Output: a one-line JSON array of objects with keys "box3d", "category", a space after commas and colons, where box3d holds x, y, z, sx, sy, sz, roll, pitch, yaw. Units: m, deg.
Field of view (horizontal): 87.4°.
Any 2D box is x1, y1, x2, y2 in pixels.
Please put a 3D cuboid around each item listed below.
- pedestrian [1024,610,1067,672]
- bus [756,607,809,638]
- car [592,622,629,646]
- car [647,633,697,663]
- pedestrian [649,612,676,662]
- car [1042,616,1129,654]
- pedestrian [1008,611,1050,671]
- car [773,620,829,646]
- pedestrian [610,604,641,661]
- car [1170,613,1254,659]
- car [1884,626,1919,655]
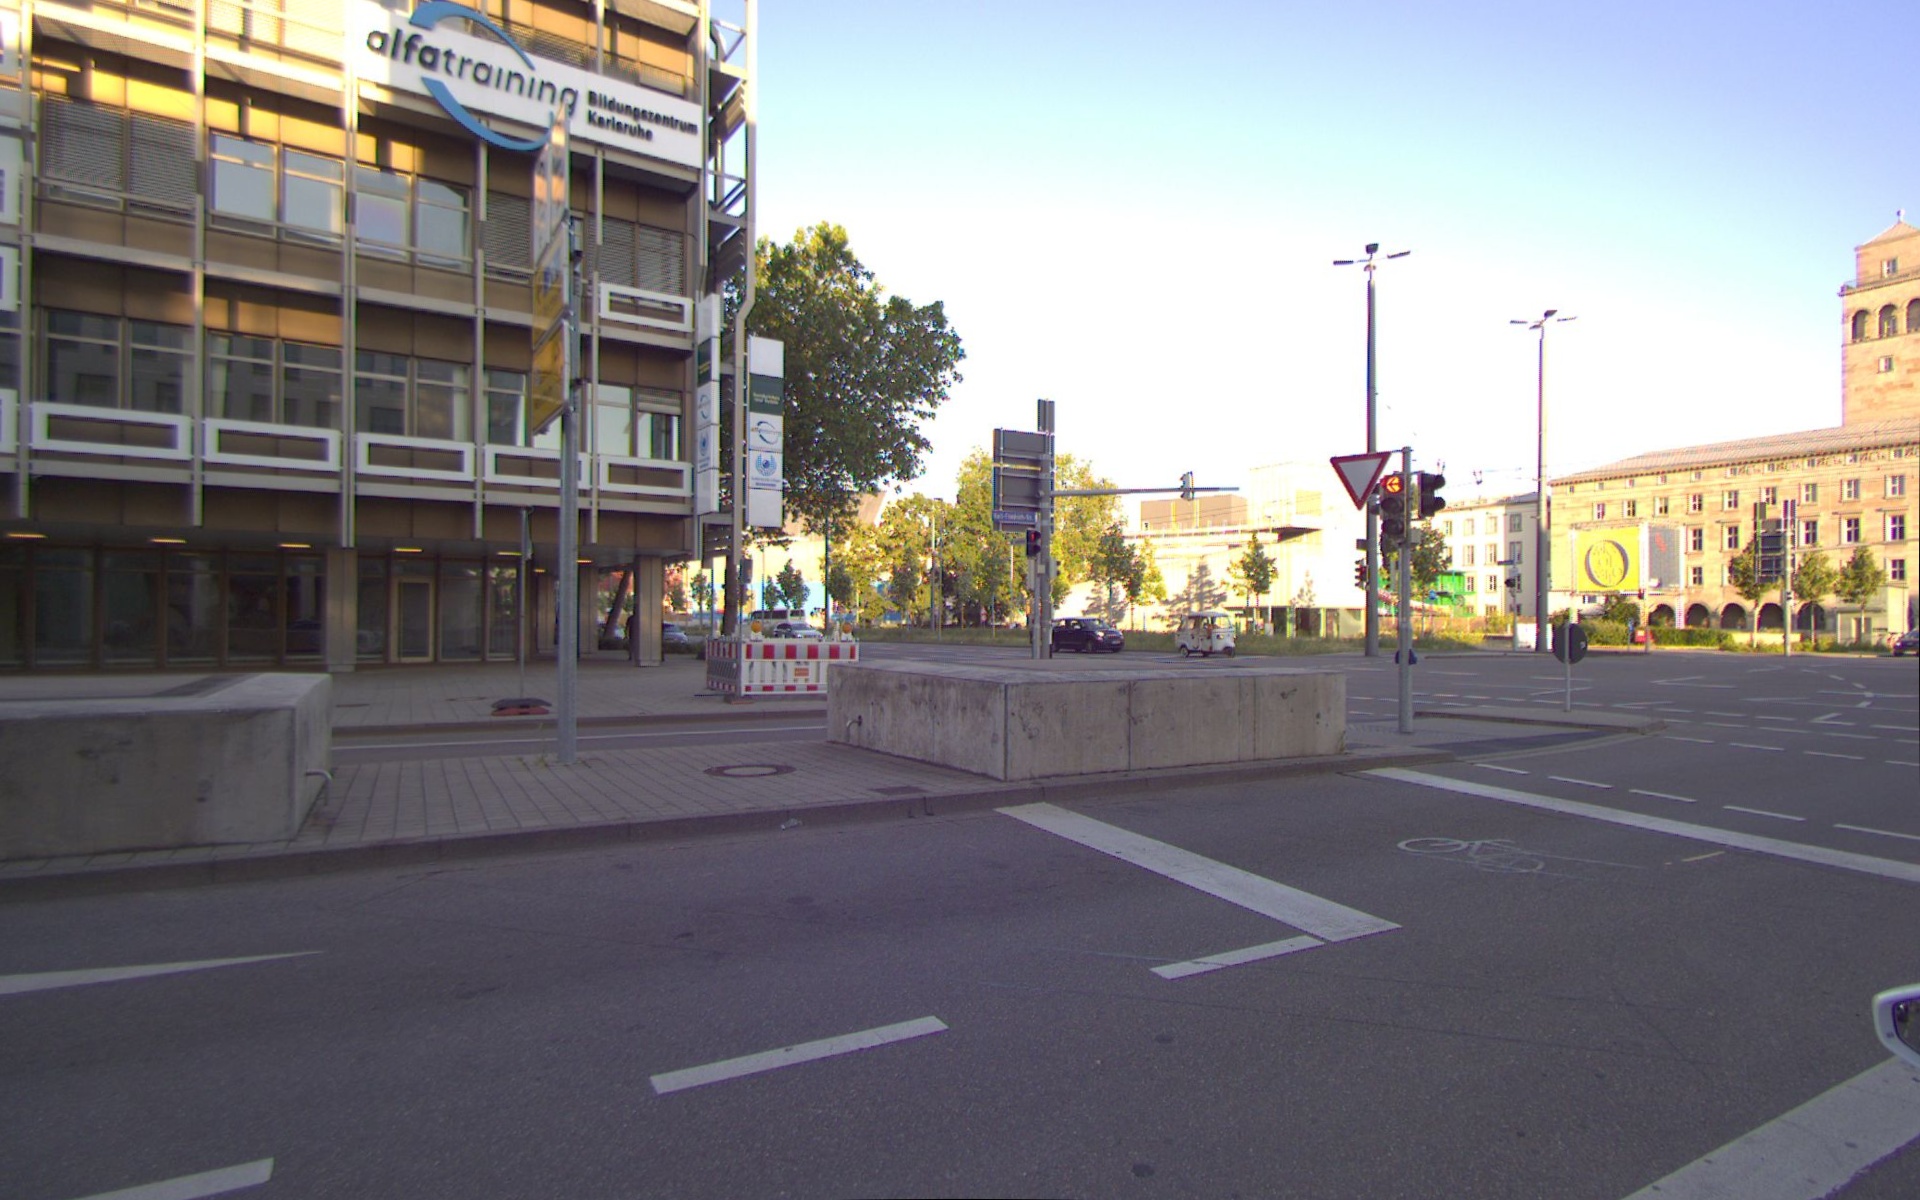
[{"box3d": [2.457, 1.171, 28.907, 0.949, 1.744, 0.816, 1, -1, -34], "category": "pedestrian"}, {"box3d": [-23.049, 2.870, 130.031, 2.959, 3.818, 10.341, 1, -1, -34], "category": "bus"}, {"box3d": [-24.364, 2.367, 69.944, 1.722, 1.605, 3.764, 0, -1, -31], "category": "car"}, {"box3d": [-16.894, 2.752, 58.759, 1.722, 1.605, 4.554, 0, -1, -30], "category": "car"}, {"box3d": [-9.883, 1.218, 33.375, 0.660, 1.606, 0.715, 2, 0, -34], "category": "pedestrian"}, {"box3d": [5.694, 1.580, 46.073, 1.727, 1.626, 4.094, 1, -1, -35], "category": "car"}, {"box3d": [2.025, 1.204, 29.640, 0.949, 1.744, 0.816, 1, -1, -34], "category": "pedestrian"}, {"box3d": [-9.859, 2.020, 62.040, 1.830, 1.476, 4.553, 0, -1, -31], "category": "car"}, {"box3d": [-11.010, 1.054, 33.033, 0.749, 1.830, 0.715, 2, 0, -35], "category": "pedestrian"}, {"box3d": [9.823, 1.372, 39.330, 1.474, 1.718, 2.943, 1, -1, -36], "category": "car"}, {"box3d": [51.318, 2.142, 53.655, 4.111, 1.485, 1.813, 0, -1, -32], "category": "car"}]
